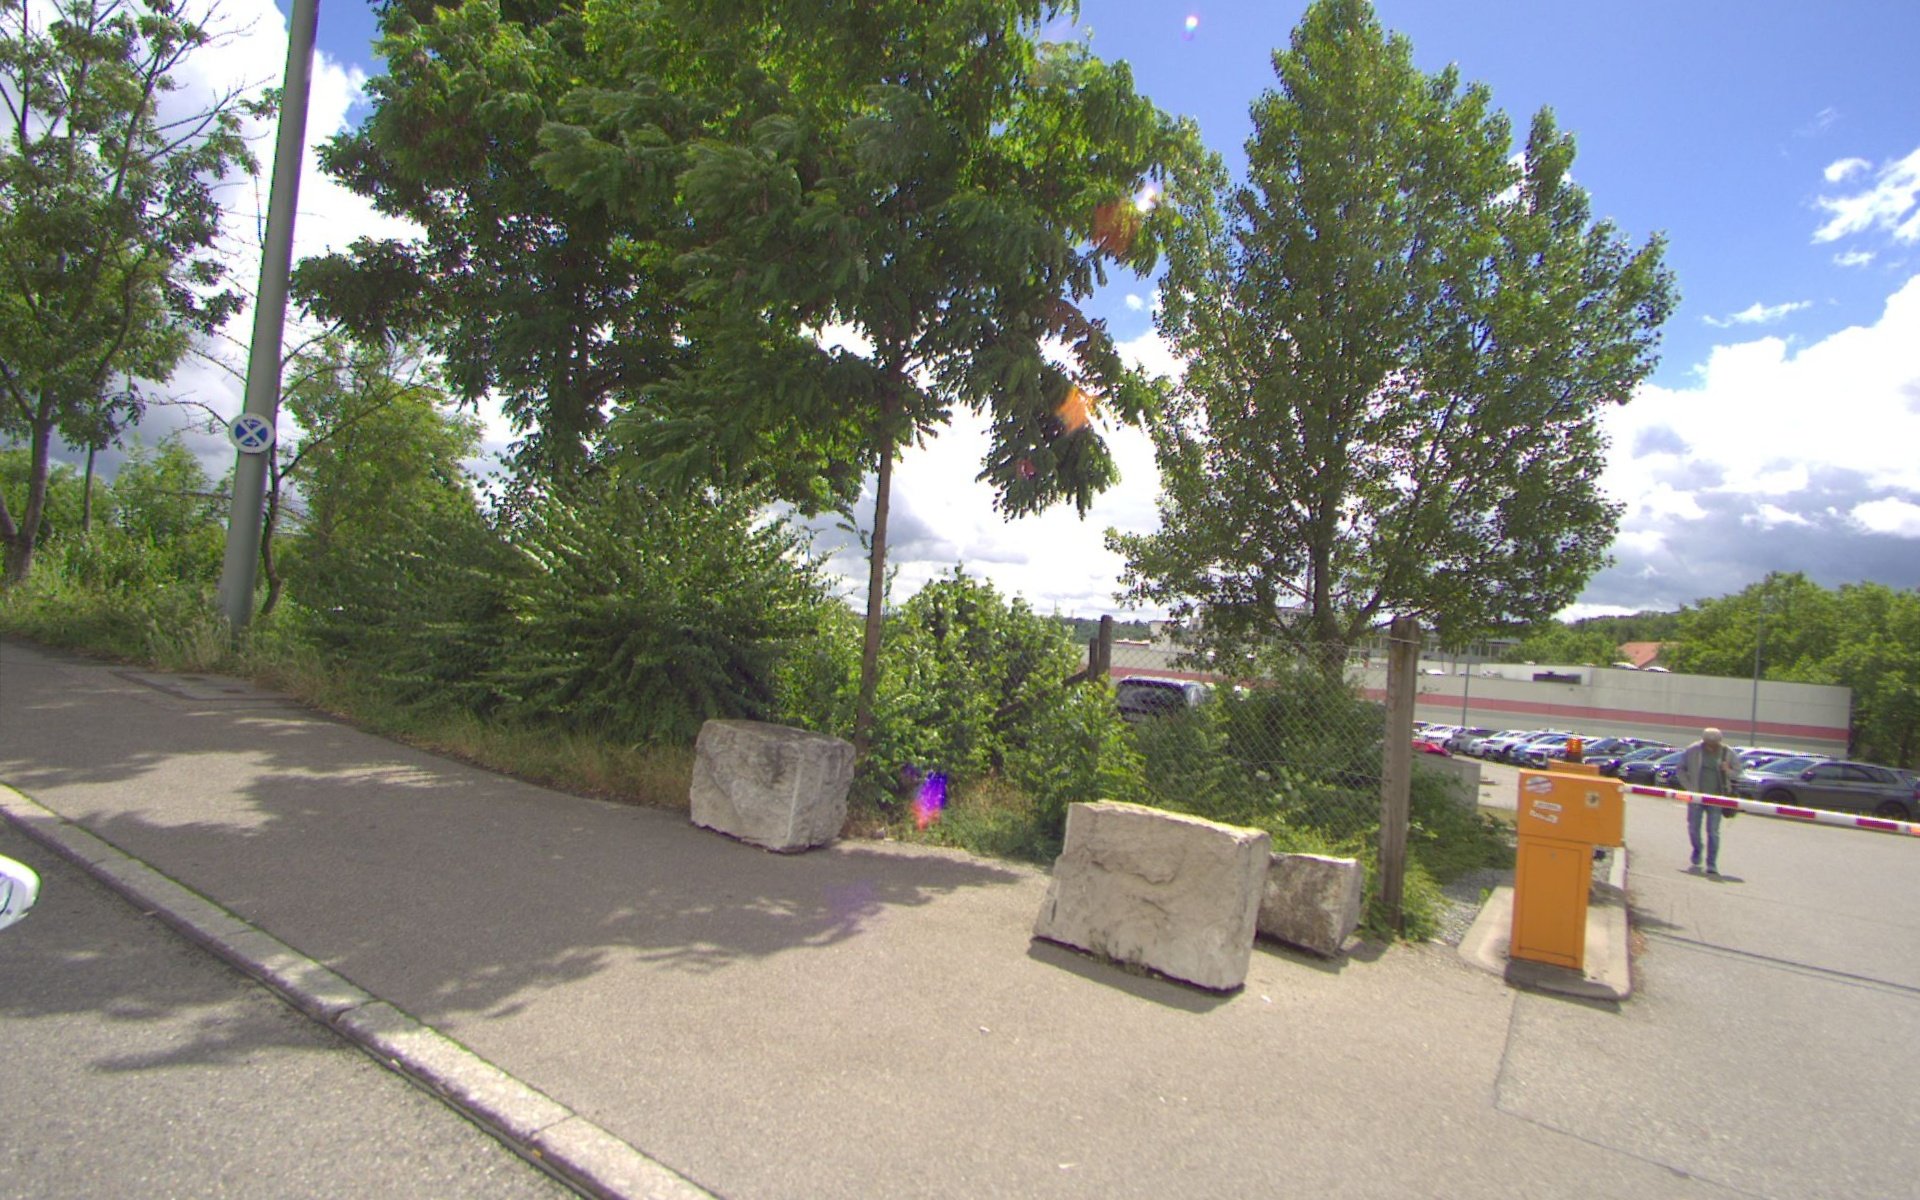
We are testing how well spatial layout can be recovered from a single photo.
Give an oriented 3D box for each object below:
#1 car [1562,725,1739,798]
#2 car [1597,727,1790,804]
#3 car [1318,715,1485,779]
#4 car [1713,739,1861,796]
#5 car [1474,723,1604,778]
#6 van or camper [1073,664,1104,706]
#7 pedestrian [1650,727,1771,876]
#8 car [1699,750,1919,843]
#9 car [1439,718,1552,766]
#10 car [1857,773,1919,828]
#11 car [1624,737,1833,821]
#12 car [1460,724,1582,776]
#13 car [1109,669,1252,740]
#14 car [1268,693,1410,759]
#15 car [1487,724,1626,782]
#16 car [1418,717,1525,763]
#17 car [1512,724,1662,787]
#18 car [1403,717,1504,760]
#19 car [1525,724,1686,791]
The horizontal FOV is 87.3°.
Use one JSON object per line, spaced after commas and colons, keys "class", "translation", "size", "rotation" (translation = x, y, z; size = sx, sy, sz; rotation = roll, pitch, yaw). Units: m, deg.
{"class": "car", "translation": [22.995, 5.357, 33.663], "size": [4.359, 1.804, 2.005], "rotation": [5, -5, 8]}
{"class": "car", "translation": [22.798, 5.121, 31.428], "size": [4.359, 1.804, 2.005], "rotation": [5, -5, 8]}
{"class": "car", "translation": [12.122, 4.031, 27.816], "size": [3.923, 1.275, 1.507], "rotation": [5, -5, 12]}
{"class": "car", "translation": [29.872, 6.028, 36.447], "size": [3.647, 1.465, 1.874], "rotation": [6, -2, 5]}
{"class": "car", "translation": [25.168, 6.534, 43.858], "size": [4.359, 1.804, 2.005], "rotation": [5, -5, 8]}
{"class": "van or camper", "translation": [9.507, 6.337, 74.449], "size": [1.891, 2.719, 5.318], "rotation": [5, -5, 8]}
{"class": "pedestrian", "translation": [9.563, 2.541, 12.847], "size": [0.864, 1.714, 0.816], "rotation": [6, -4, 3]}
{"class": "car", "translation": [22.118, 5.060, 26.087], "size": [4.266, 1.688, 1.875], "rotation": [5, -2, 10]}
{"class": "car", "translation": [26.111, 6.905, 49.184], "size": [4.359, 1.804, 2.005], "rotation": [5, -5, 8]}
{"class": "car", "translation": [27.868, 5.787, 28.154], "size": [3.646, 1.279, 1.875], "rotation": [5, -3, 7]}
{"class": "car", "translation": [21.924, 5.070, 28.890], "size": [4.267, 1.688, 1.874], "rotation": [5, -2, 16]}
{"class": "car", "translation": [25.723, 6.863, 46.265], "size": [4.359, 1.804, 2.005], "rotation": [5, -5, 8]}
{"class": "car", "translation": [7.620, 3.637, 35.092], "size": [4.559, 1.894, 1.726], "rotation": [6, -5, 6]}
{"class": "car", "translation": [13.586, 4.517, 36.298], "size": [4.359, 1.804, 2.005], "rotation": [5, -5, 8]}
{"class": "car", "translation": [24.317, 6.219, 41.152], "size": [4.359, 1.804, 2.005], "rotation": [5, -5, 8]}
{"class": "car", "translation": [26.202, 7.152, 51.653], "size": [4.359, 1.804, 2.005], "rotation": [5, -5, 8]}
{"class": "car", "translation": [23.937, 5.928, 38.549], "size": [4.359, 1.804, 2.005], "rotation": [5, -5, 8]}
{"class": "car", "translation": [26.457, 7.413, 54.077], "size": [4.359, 1.804, 2.005], "rotation": [5, -5, 8]}
{"class": "car", "translation": [23.159, 5.620, 36.218], "size": [4.359, 1.804, 2.005], "rotation": [5, -5, 8]}
